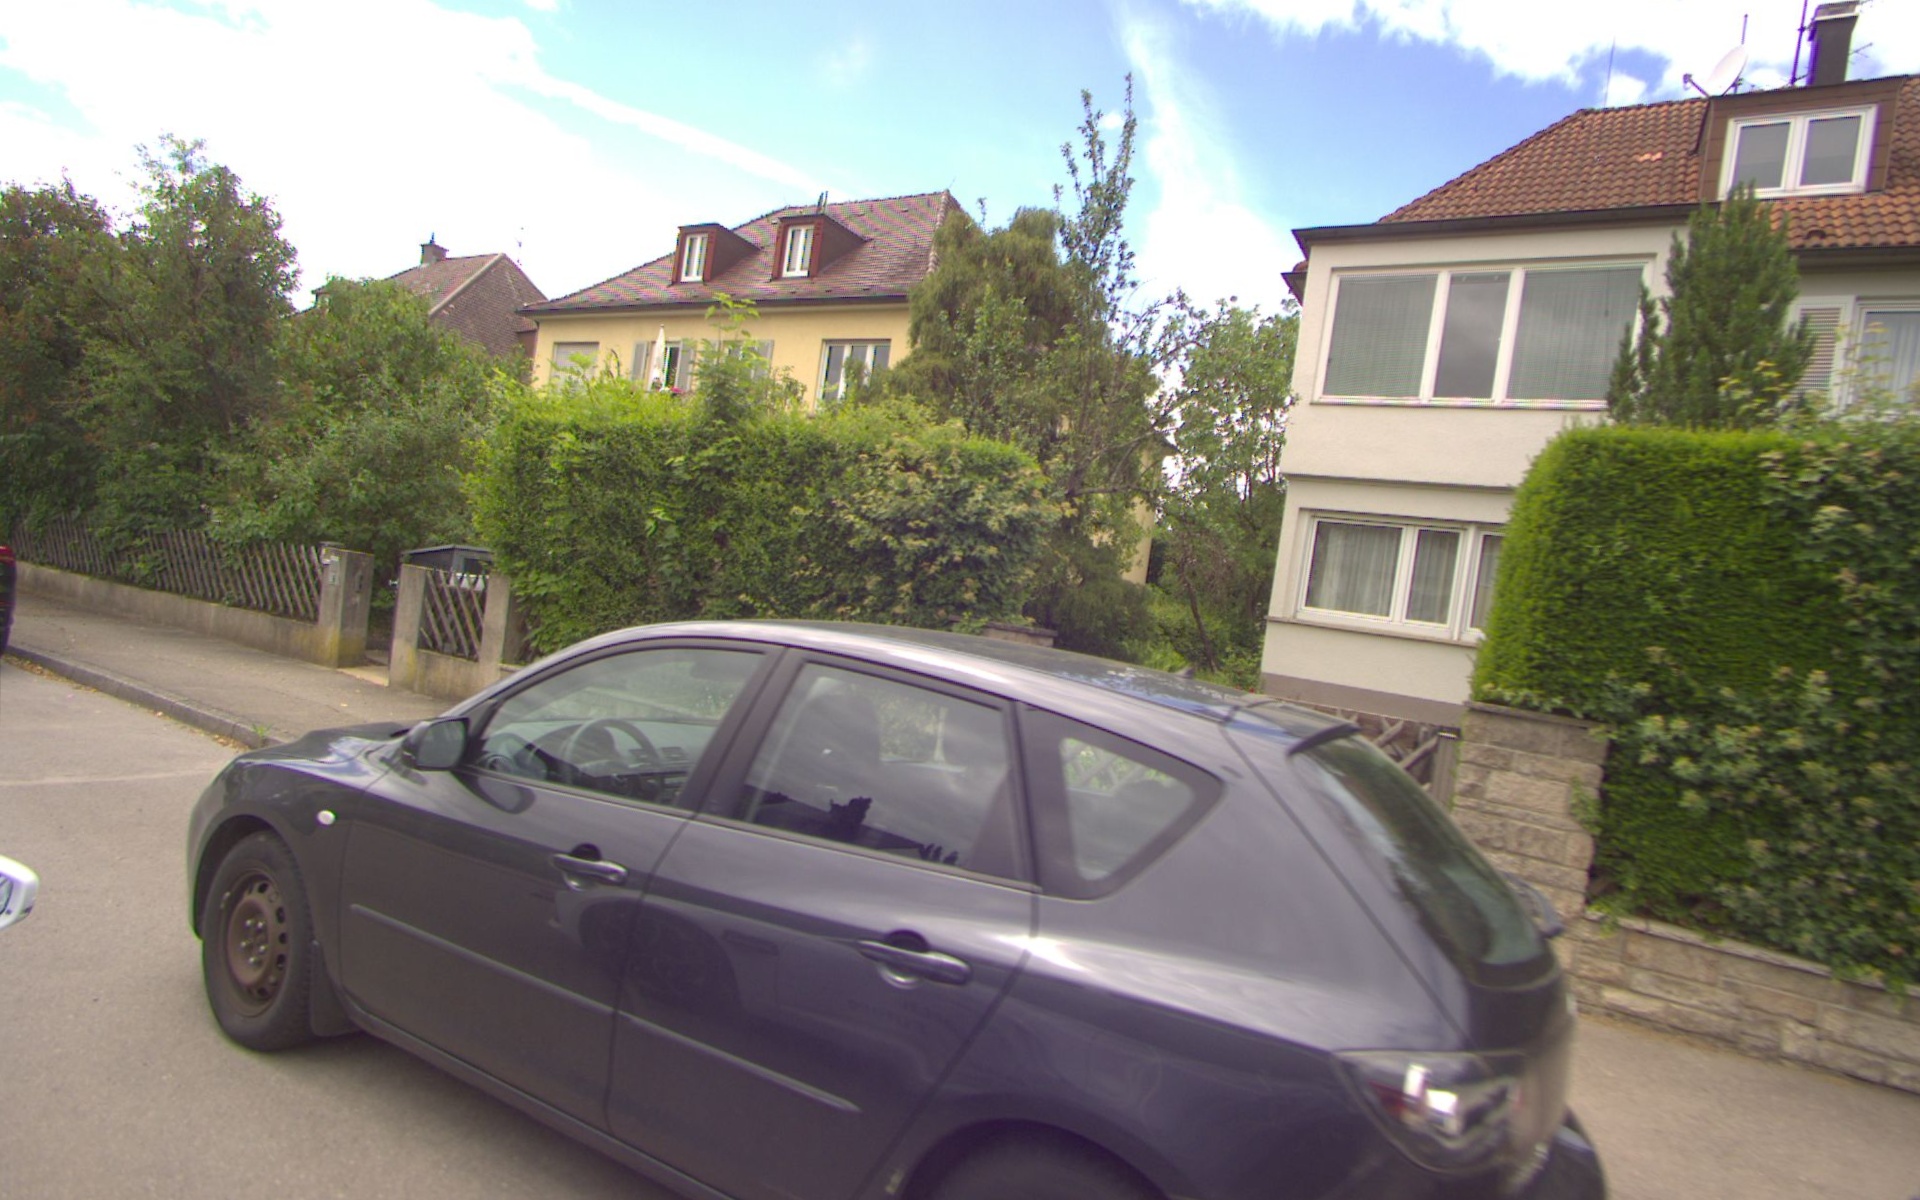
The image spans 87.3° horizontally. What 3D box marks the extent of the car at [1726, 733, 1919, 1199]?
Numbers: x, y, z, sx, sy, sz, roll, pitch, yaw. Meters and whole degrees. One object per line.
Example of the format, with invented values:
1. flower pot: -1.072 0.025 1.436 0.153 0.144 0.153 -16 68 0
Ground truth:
1. car: 3.399 1.228 0.687 4.283 1.495 1.760 7 -1 29

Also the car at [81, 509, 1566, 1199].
1. car: -0.644 0.728 3.098 4.069 1.477 1.721 7 -1 29

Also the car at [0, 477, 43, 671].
1. car: -10.110 -0.466 8.961 4.074 1.611 1.803 6 -1 33
